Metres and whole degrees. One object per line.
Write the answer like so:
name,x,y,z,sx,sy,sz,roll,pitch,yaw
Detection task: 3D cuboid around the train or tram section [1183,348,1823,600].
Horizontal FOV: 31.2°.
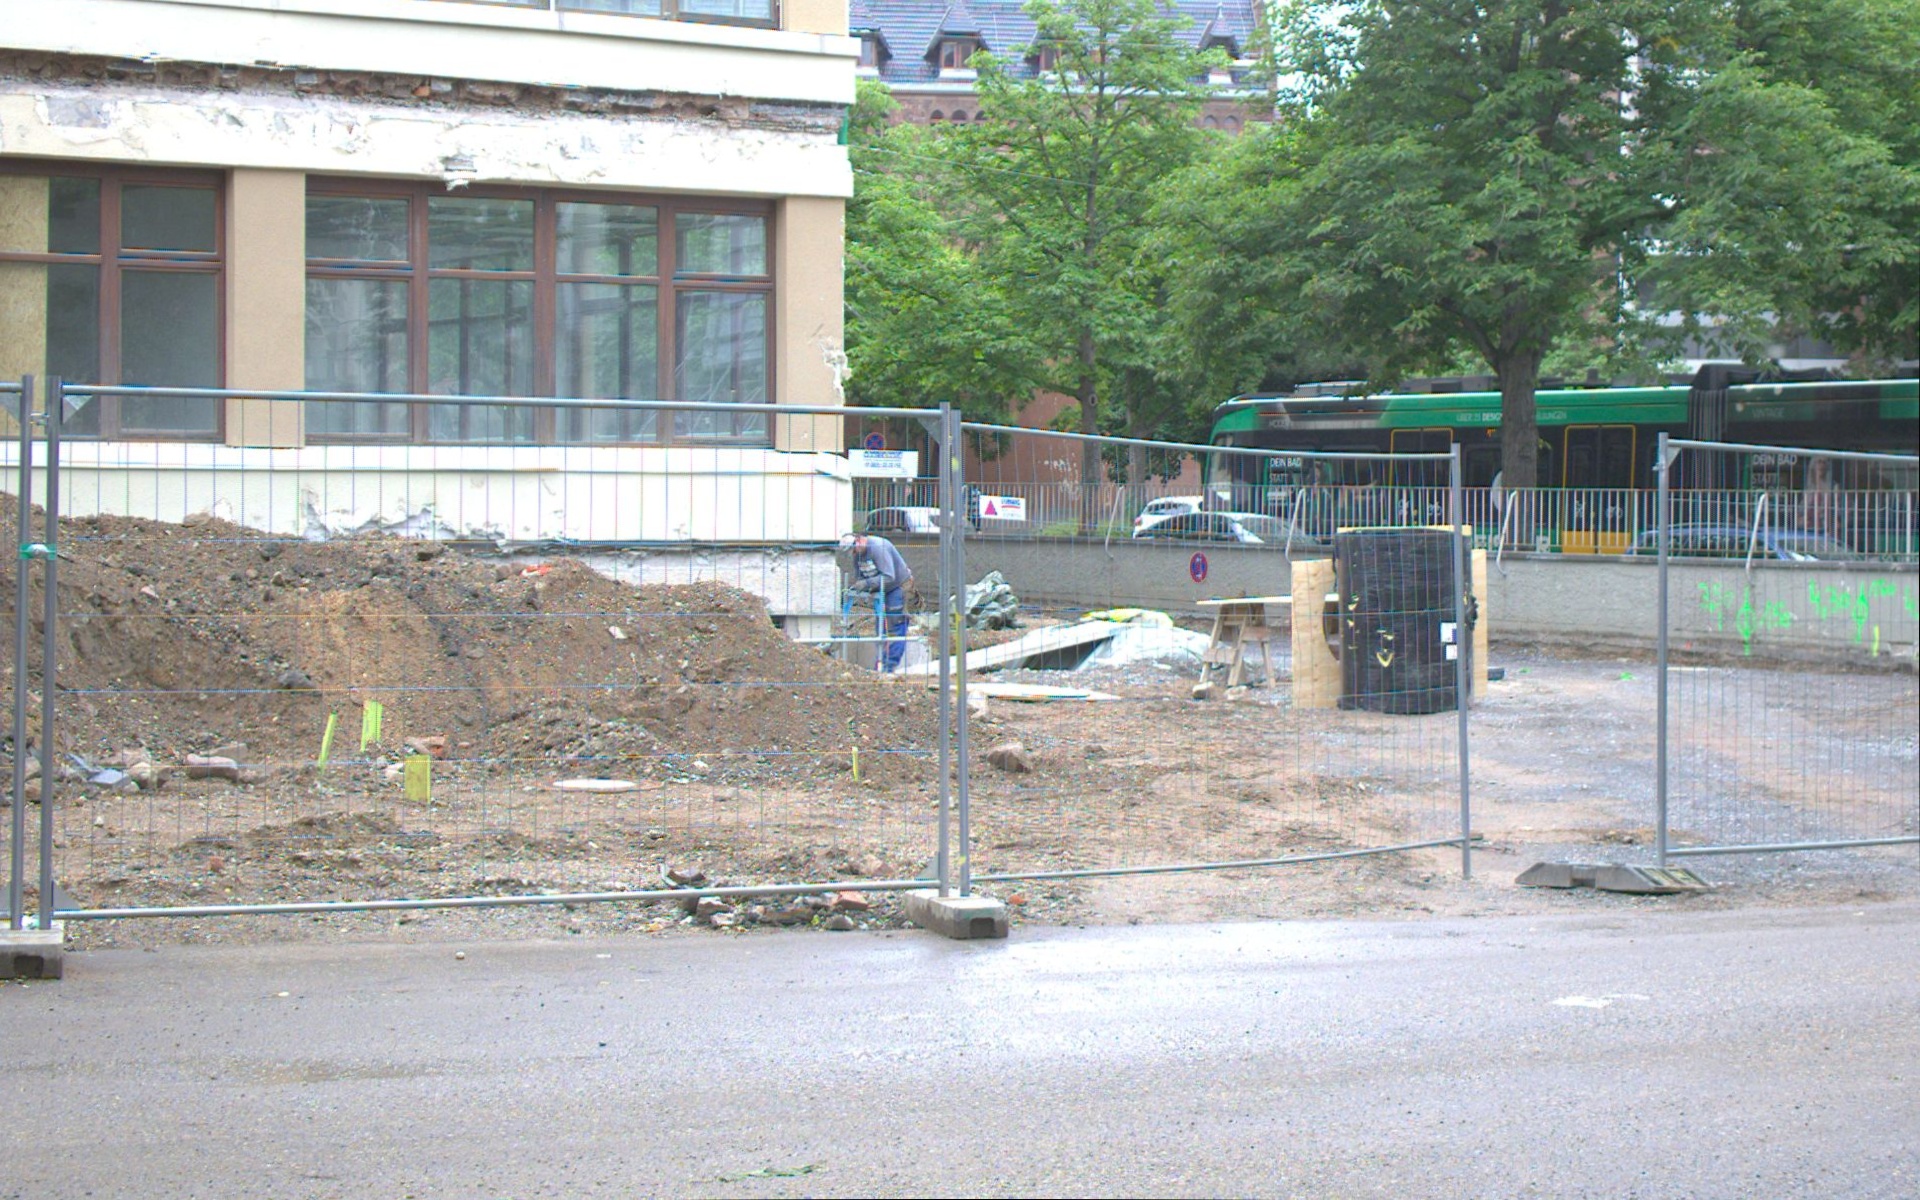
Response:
train or tram section,8.278,-1.961,55.118,2.659,3.602,12.458,-1,2,-32

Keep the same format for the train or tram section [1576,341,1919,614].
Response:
train or tram section,13.556,-1.637,46.494,2.659,3.602,12.458,-1,2,-32

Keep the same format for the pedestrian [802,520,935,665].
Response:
pedestrian,-0.925,-0.087,34.691,0.980,1.433,0.930,0,1,-35
